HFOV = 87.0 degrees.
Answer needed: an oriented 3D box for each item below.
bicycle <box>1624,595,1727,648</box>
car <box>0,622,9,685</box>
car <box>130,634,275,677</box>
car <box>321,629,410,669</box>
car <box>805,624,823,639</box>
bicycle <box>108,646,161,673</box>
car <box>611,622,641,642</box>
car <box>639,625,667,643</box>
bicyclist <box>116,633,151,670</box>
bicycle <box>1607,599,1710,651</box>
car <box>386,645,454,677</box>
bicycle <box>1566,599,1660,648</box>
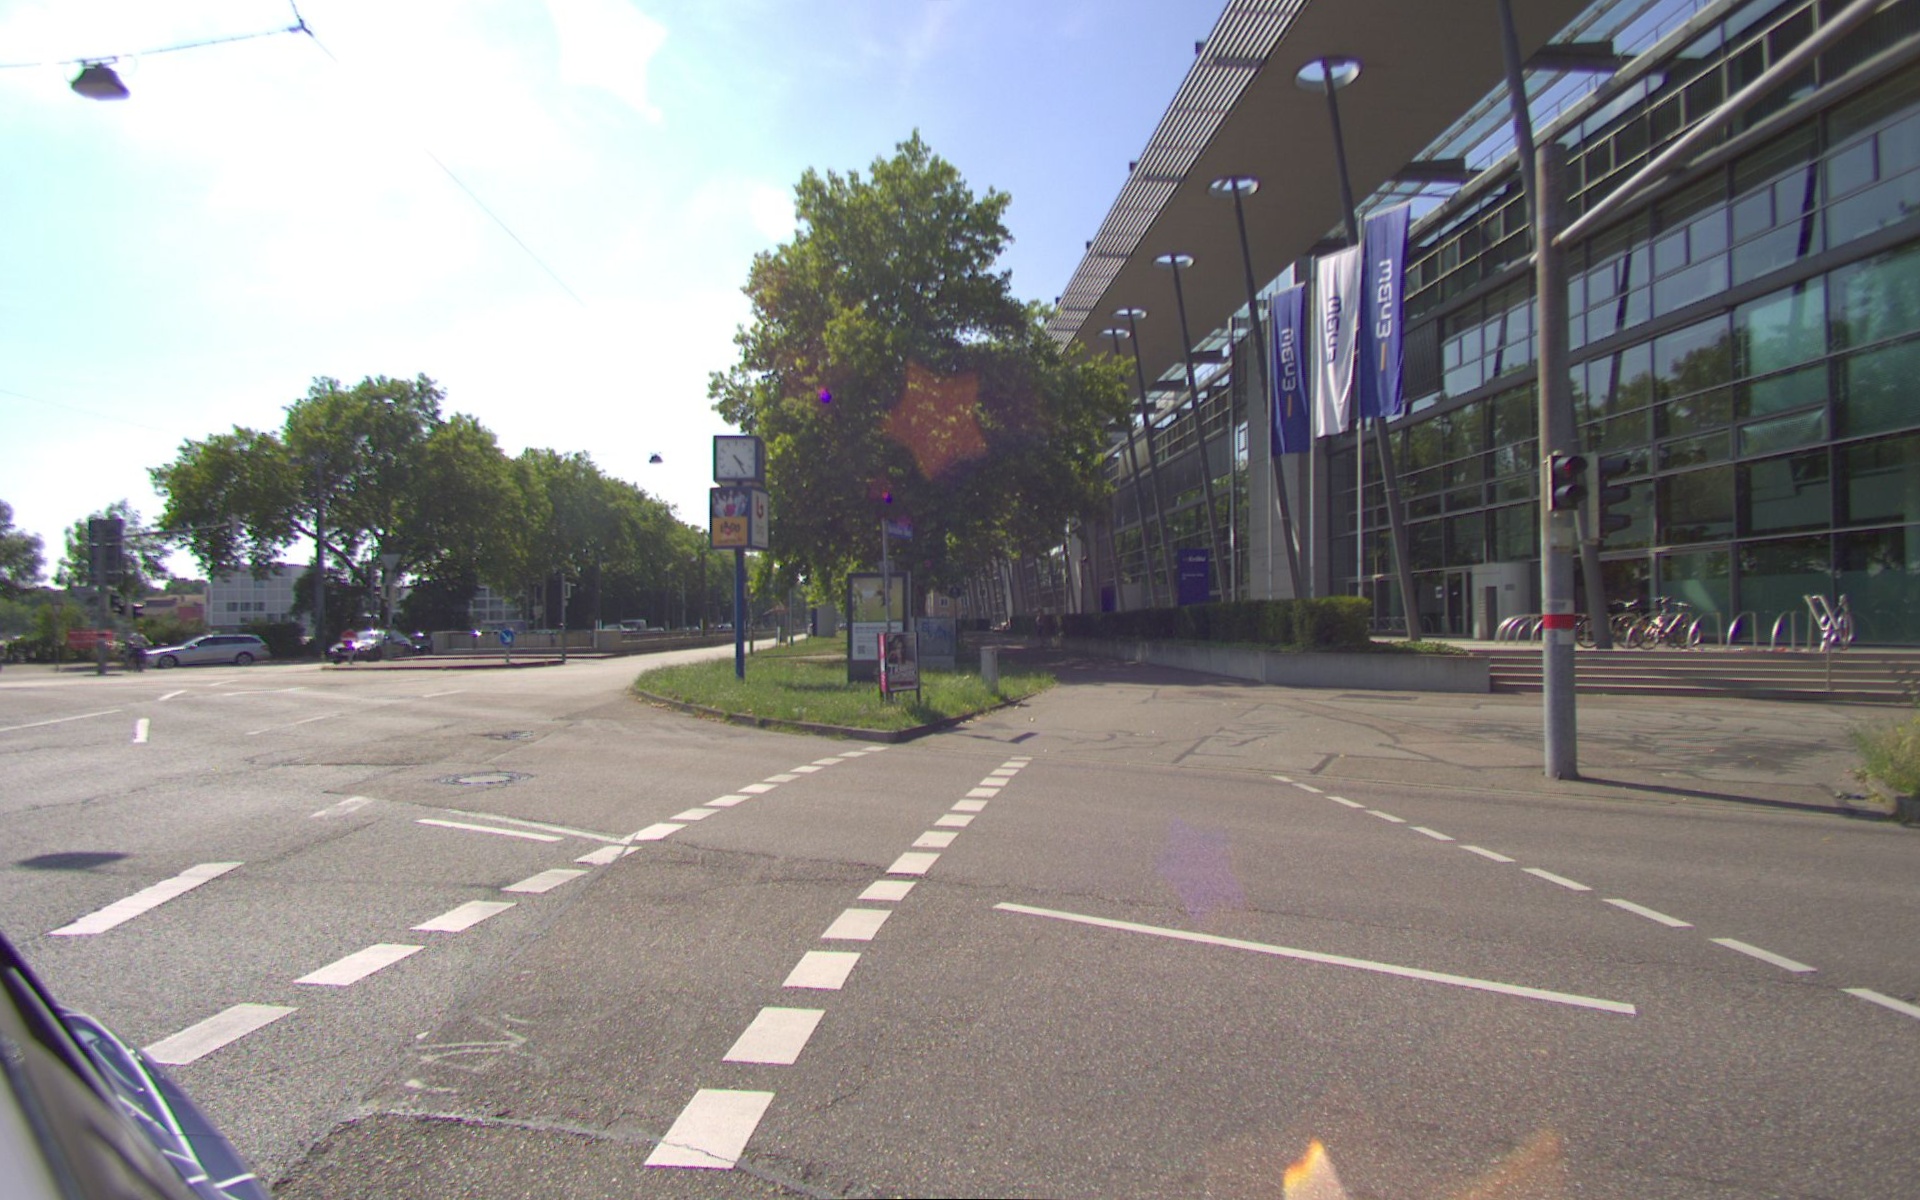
[{"bbox_3d":[15.551,0.470,22.009,1.772,1.119,0.740,0,-1,-8],"label":"bicycle"},{"bbox_3d":[-24.454,1.292,22.937,1.802,1.561,4.565,-1,-1,-5],"label":"car"},{"bbox_3d":[-35.202,2.562,47.158,1.998,1.737,5.096,-4,-2,40],"label":"car"},{"bbox_3d":[-26.307,2.142,44.955,1.792,1.626,4.003,-2,-2,-4],"label":"car"},{"bbox_3d":[-17.043,3.691,118.041,1.874,1.652,4.005,-2,-2,-6],"label":"car"},{"bbox_3d":[-33.429,2.391,40.979,2.388,1.061,0.766,-1,-1,27],"label":"bicycle"},{"bbox_3d":[-34.176,3.287,103.583,1.846,1.952,4.001,0,-1,-2],"label":"car"},{"bbox_3d":[-31.220,3.483,103.011,1.846,1.767,4.001,0,-1,-2],"label":"car"},{"bbox_3d":[-33.503,2.076,41.027,0.916,1.447,0.767,-1,-2,26],"label":"bicyclist"},{"bbox_3d":[15.759,0.560,22.845,1.856,1.119,0.740,0,-1,-8],"label":"bicycle"},{"bbox_3d":[-30.151,3.369,56.615,1.747,1.641,4.001,0,-1,-2],"label":"car"},{"bbox_3d":[15.318,0.550,23.751,1.772,1.119,0.740,0,-1,-8],"label":"bicycle"}]
